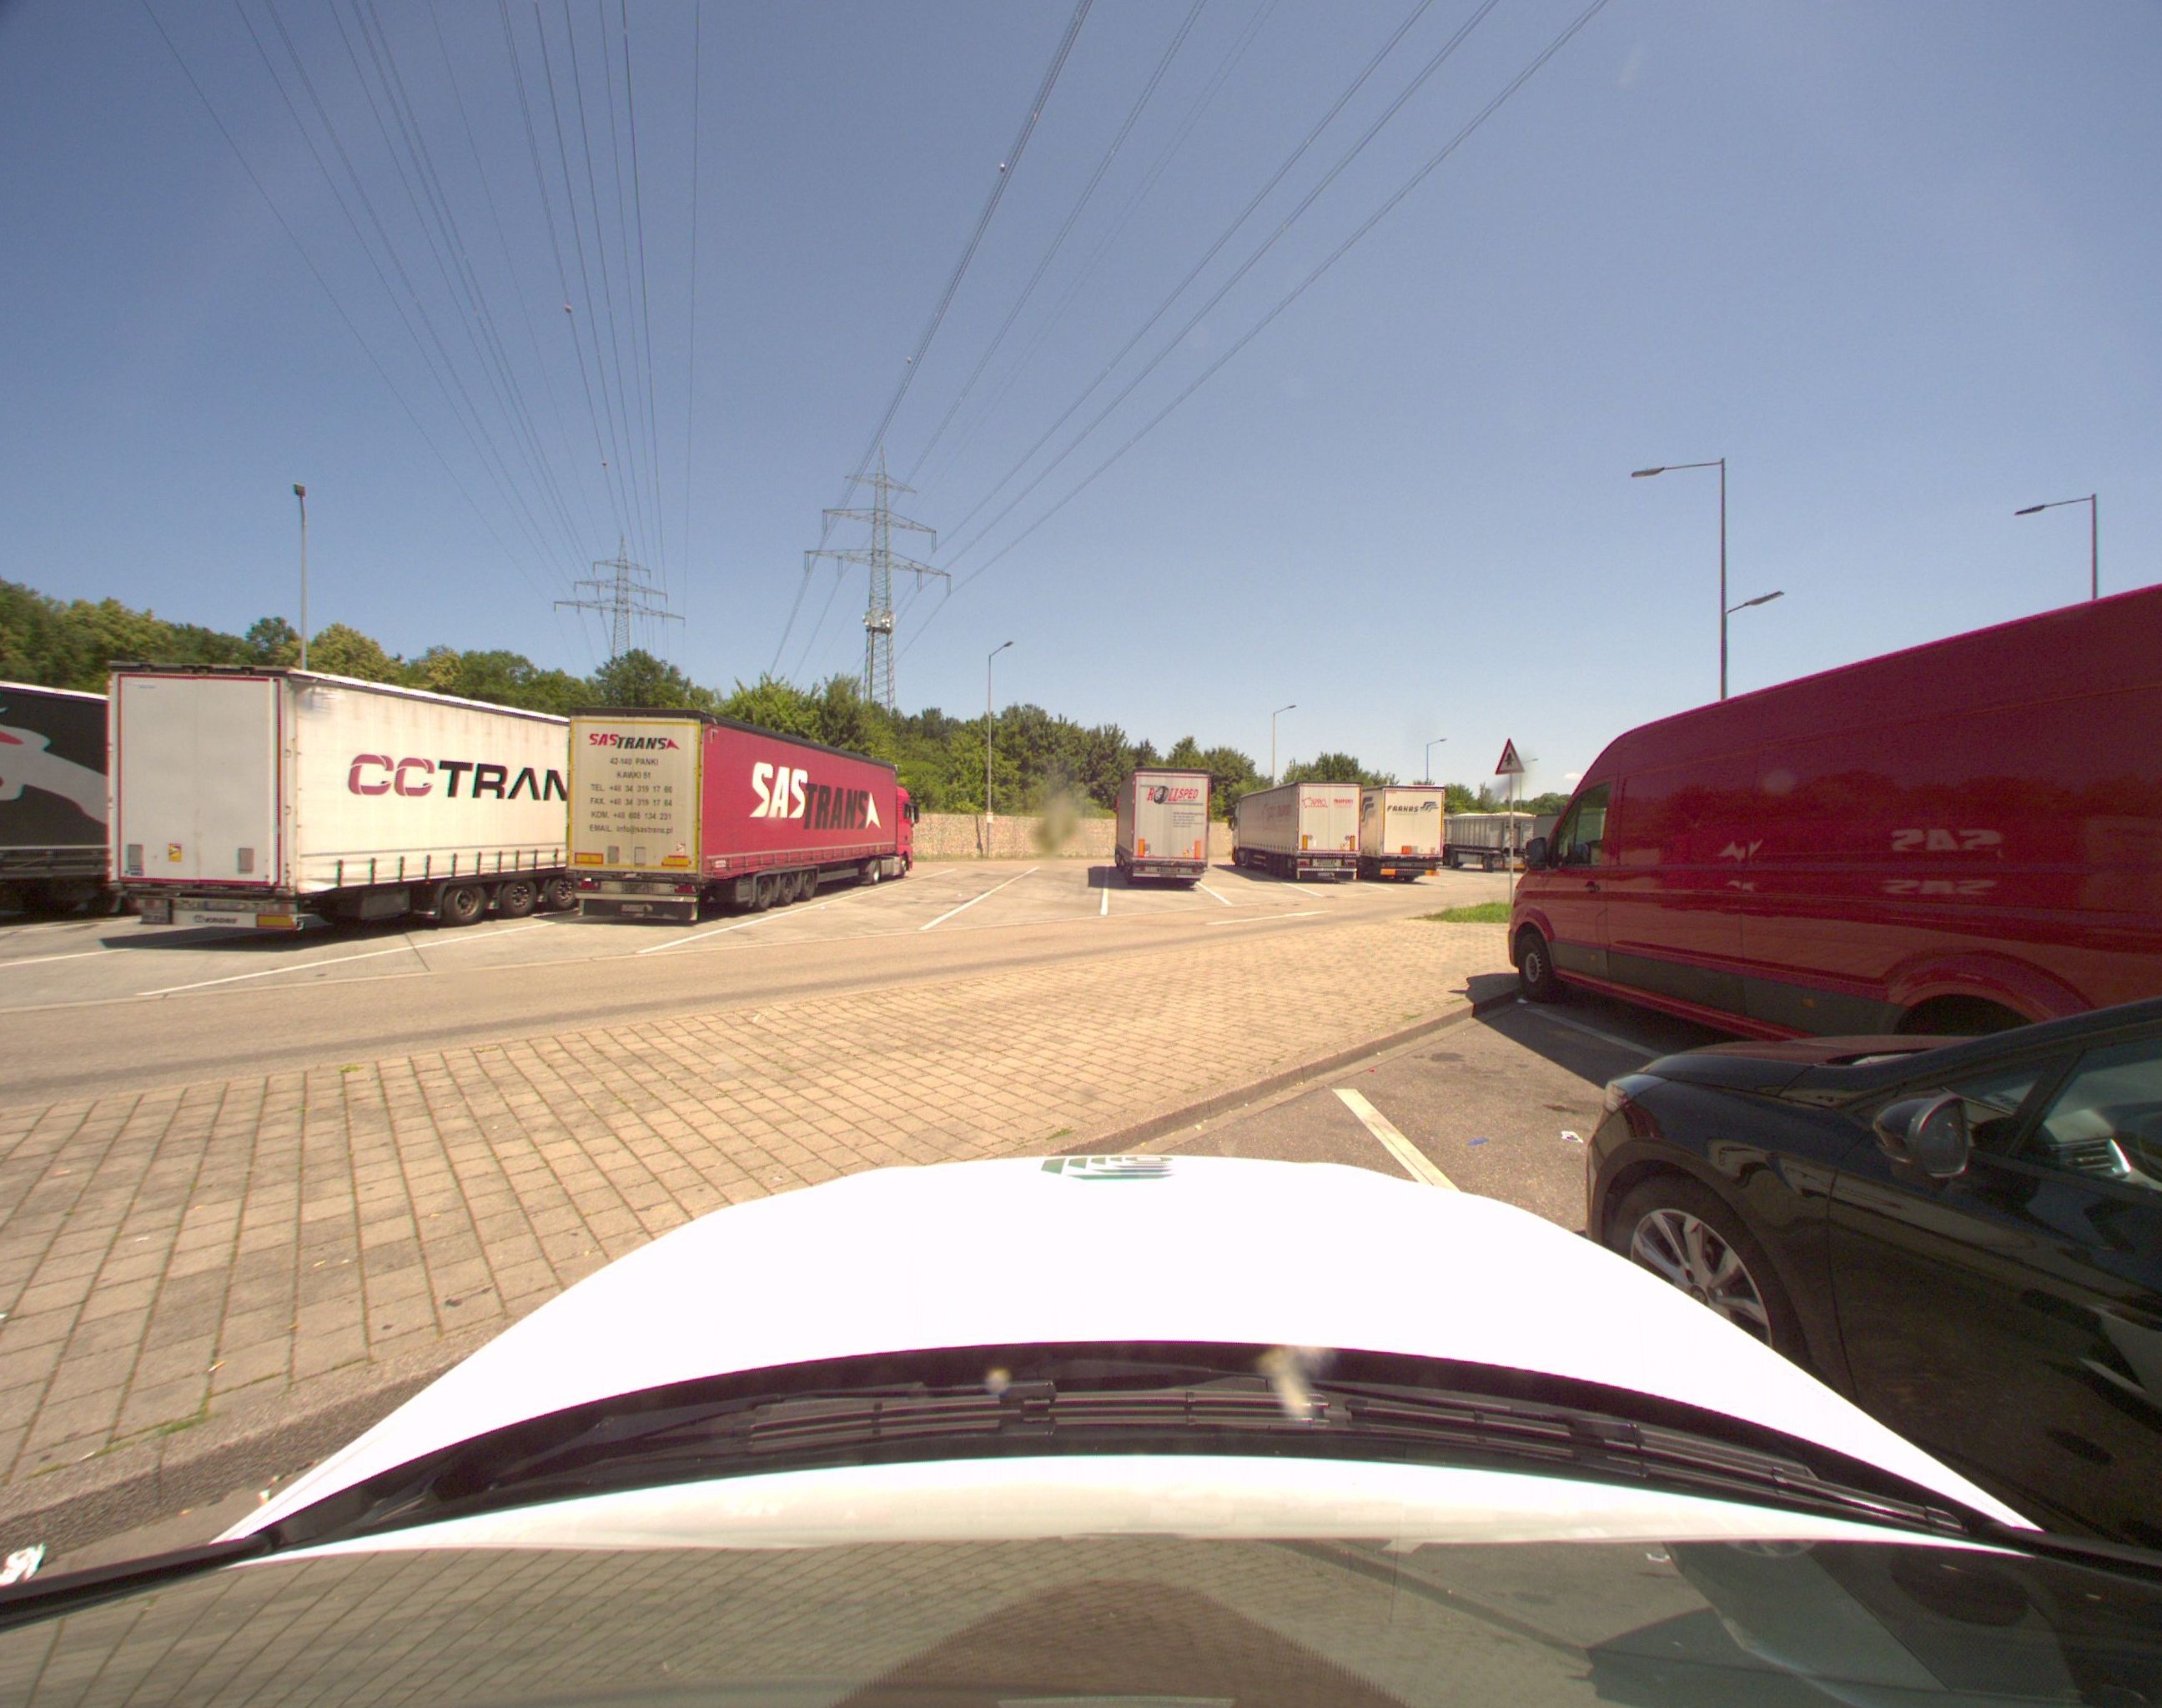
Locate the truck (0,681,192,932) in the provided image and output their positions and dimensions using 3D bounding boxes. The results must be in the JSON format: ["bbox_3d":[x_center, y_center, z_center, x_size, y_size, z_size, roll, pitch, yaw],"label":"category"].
[{"bbox_3d":[-18.577,-0.798,13.557,2.692,4.016,4.326,1,2,2],"label":"truck"}]

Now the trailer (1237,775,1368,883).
[{"bbox_3d":[9.957,-1.156,38.618,2.828,4.132,13.730,1,2,2],"label":"trailer"}]

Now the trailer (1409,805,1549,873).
[{"bbox_3d":[24.532,-1.005,51.449,2.826,3.717,13.737,1,2,3],"label":"trailer"}]

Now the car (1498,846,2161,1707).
[{"bbox_3d":[2.523,0.750,1.174,1.733,1.482,3.813,-1,1,-3],"label":"car"}]

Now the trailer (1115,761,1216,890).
[{"bbox_3d":[3.026,-1.102,33.291,2.896,4.132,13.727,1,2,1],"label":"trailer"}]

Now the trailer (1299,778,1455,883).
[{"bbox_3d":[13.613,-1.123,39.282,2.828,4.132,13.730,1,2,2],"label":"trailer"}]

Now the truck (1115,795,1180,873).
[{"bbox_3d":[3.170,-0.988,39.903,2.841,3.483,5.486,1,1,2],"label":"truck"}]

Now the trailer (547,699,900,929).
[{"bbox_3d":[-8.036,-0.952,21.651,2.896,4.131,13.731,1,2,2],"label":"trailer"}]

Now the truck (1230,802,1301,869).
[{"bbox_3d":[10.164,-1.029,45.429,2.841,3.483,5.486,1,1,2],"label":"truck"}]

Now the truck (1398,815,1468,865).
[{"bbox_3d":[24.921,-1.013,57.947,2.840,3.364,5.488,1,1,3],"label":"truck"}]

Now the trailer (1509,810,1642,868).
[{"bbox_3d":[38.374,-1.244,64.134,2.826,4.049,13.737,1,2,3],"label":"trailer"}]

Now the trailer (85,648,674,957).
[{"bbox_3d":[-12.201,-0.887,16.322,2.718,4.209,10.175,1,2,2],"label":"trailer"}]

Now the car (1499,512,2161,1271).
[{"bbox_3d":[5.165,0.083,5.484,2.055,2.695,6.405,-1,1,6],"label":"car"}]

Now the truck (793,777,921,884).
[{"bbox_3d":[-7.798,-0.833,29.087,2.841,3.427,5.486,1,1,2],"label":"truck"}]
